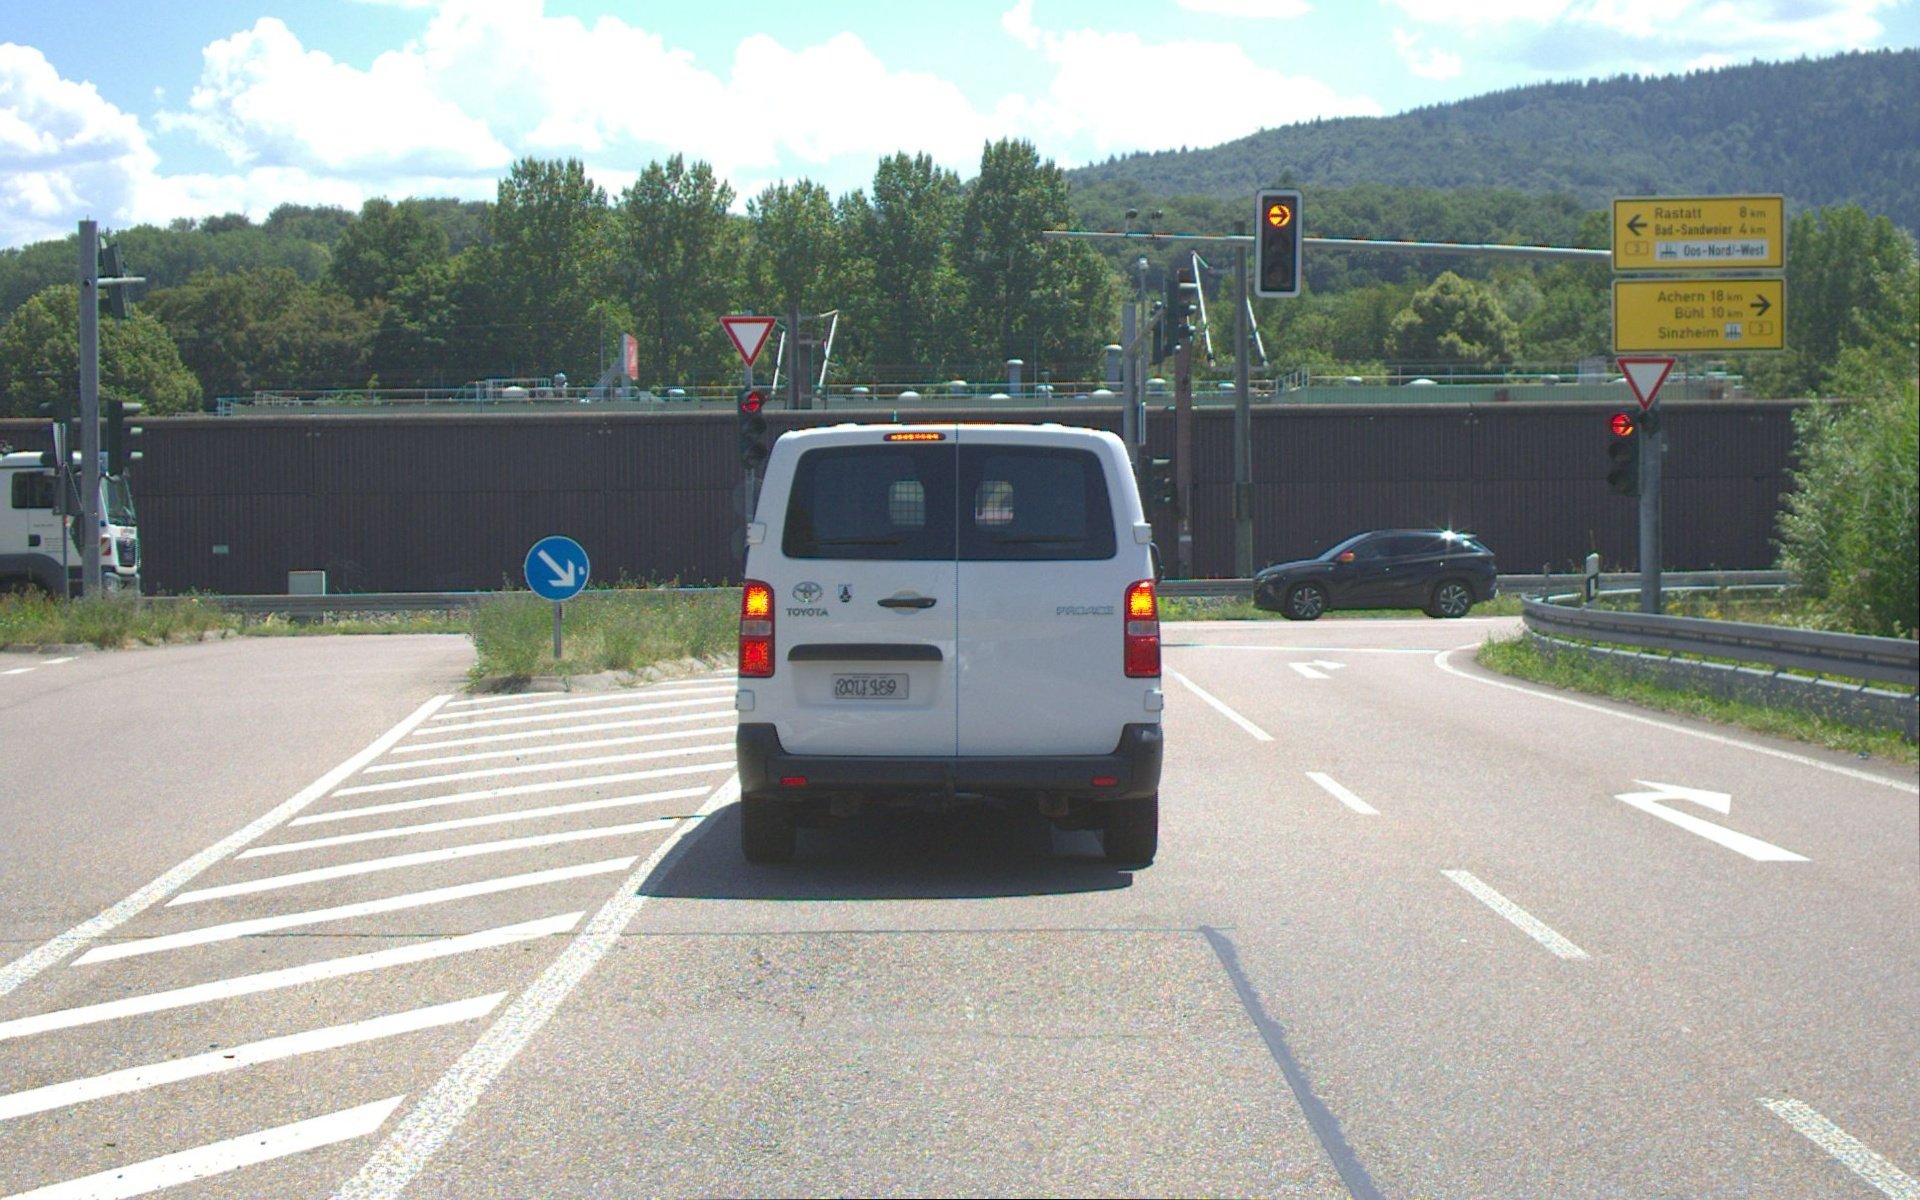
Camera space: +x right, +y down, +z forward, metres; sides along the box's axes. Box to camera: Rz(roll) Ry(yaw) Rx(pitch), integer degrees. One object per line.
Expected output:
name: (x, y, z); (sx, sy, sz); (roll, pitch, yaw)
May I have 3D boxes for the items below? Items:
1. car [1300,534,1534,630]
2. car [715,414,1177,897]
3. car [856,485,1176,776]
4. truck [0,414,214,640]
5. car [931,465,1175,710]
car: (8.383, -0.343, 63.360); (4.098, 1.469, 1.949); (-3, 3, 4)
car: (-0.059, 0.192, 15.965); (1.870, 1.958, 4.000); (0, 1, 0)
car: (0.371, 0.165, 24.062); (1.993, 1.806, 4.000); (-2, 1, 0)
truck: (-16.049, -1.133, 55.519); (7.405, 3.492, 2.233); (-2, 2, -1)
car: (0.796, -0.134, 31.048); (1.993, 2.006, 4.000); (-2, 1, 0)
